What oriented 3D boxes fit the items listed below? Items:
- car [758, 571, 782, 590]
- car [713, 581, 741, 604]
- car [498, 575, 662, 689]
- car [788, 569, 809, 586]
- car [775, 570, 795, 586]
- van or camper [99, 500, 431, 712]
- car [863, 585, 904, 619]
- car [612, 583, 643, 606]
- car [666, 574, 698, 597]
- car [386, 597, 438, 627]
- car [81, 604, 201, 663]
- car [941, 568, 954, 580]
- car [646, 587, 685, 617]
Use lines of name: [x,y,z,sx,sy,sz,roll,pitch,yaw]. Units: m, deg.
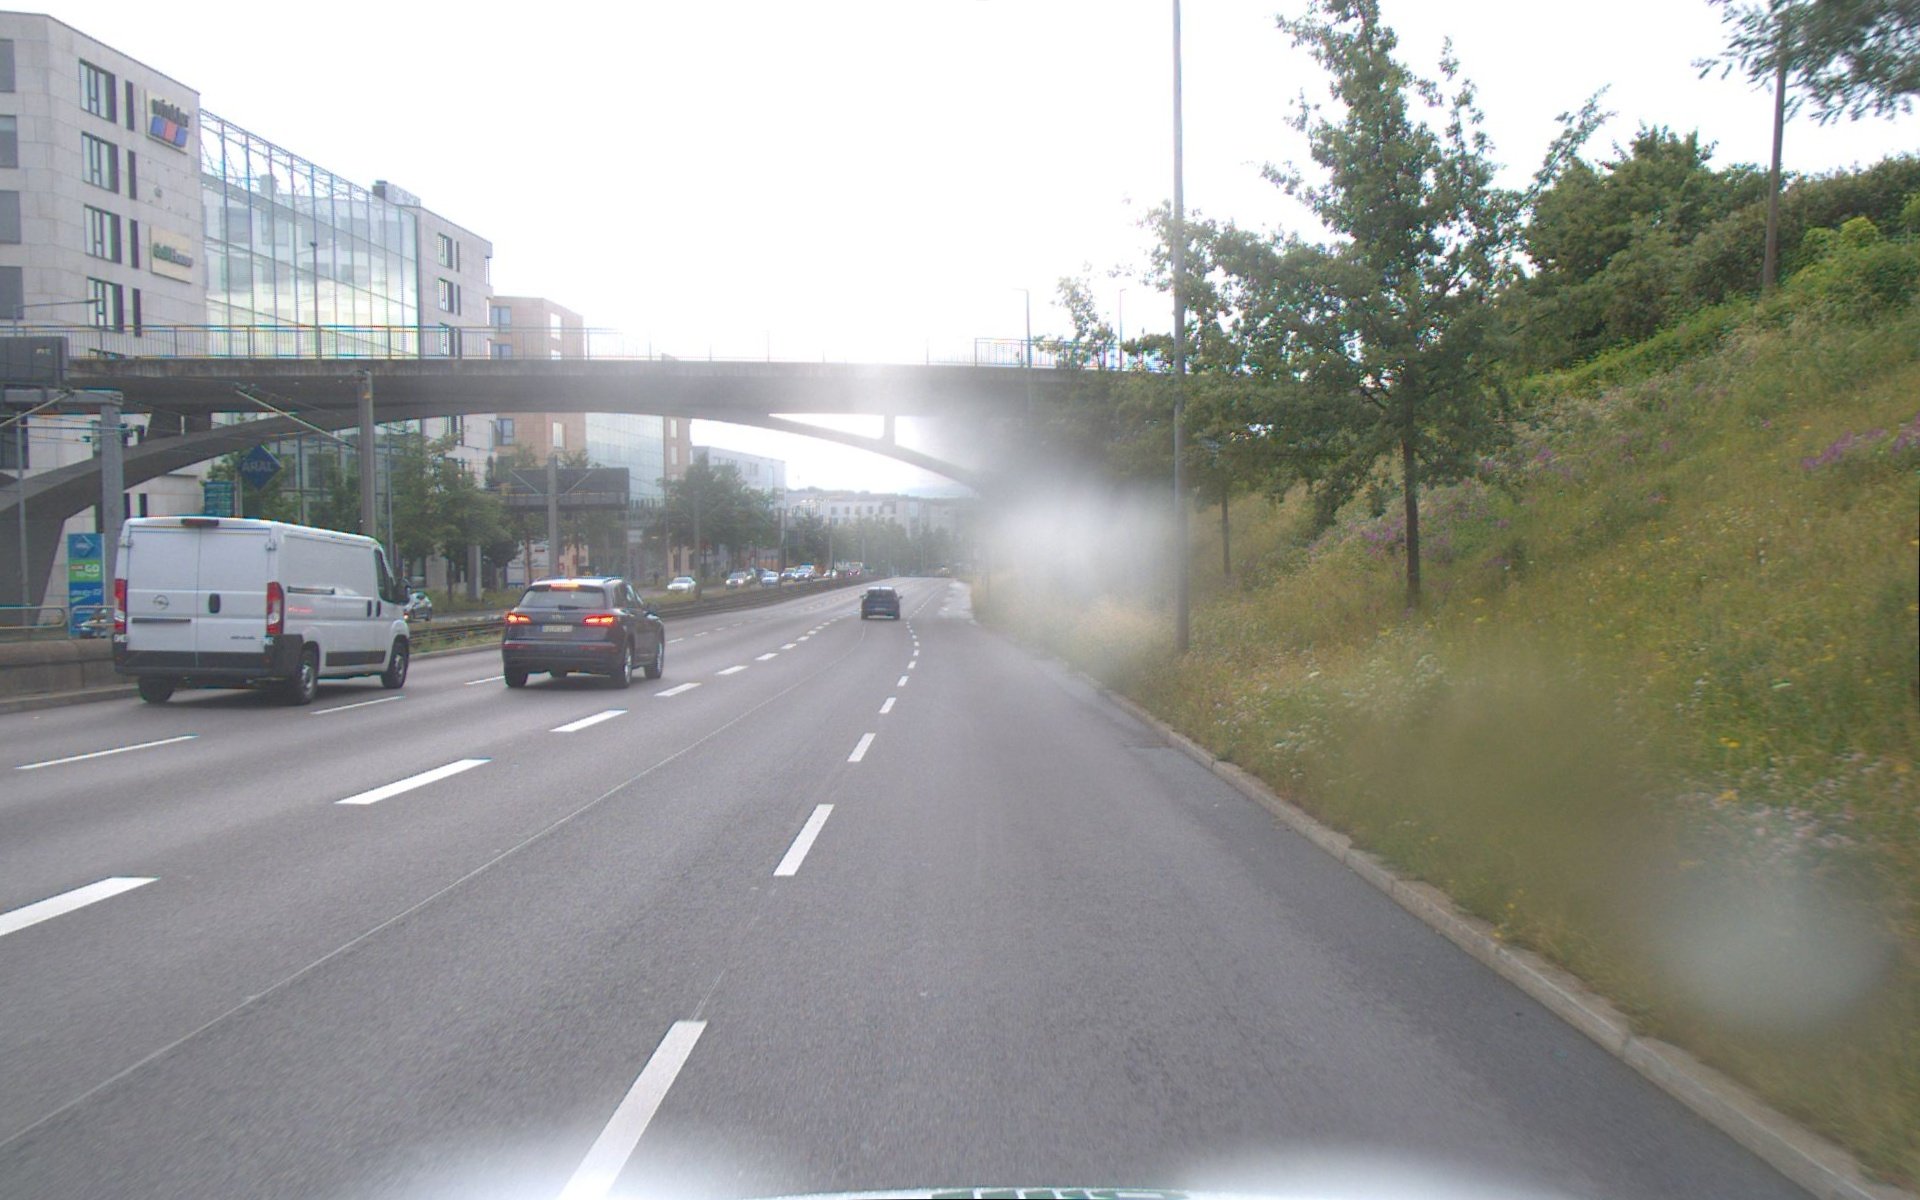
car: [-20.034,-2.076,174.580,1.952,1.765,4.250,1,3,1]
car: [-21.361,-0.692,151.692,1.952,2.049,4.001,0,0,1]
car: [-5.934,0.442,26.340,1.716,1.645,4.746,0,1,-3]
car: [-19.265,-2.681,196.994,1.952,1.765,4.250,1,3,1]
car: [-22.061,-2.770,208.995,1.952,1.765,4.250,1,3,1]
van or camper: [-9.016,0.059,22.119,2.158,2.481,5.530,0,0,-1]
car: [-3.503,0.078,76.285,1.713,1.444,3.478,0,1,0]
car: [-30.205,-0.504,150.423,1.952,2.049,4.001,0,0,1]
car: [-24.340,-1.273,144.853,1.952,1.765,4.250,1,3,1]
car: [-27.527,0.579,83.169,1.486,1.445,3.478,0,1,0]
car: [-21.911,0.868,44.384,1.486,1.445,3.478,0,1,0]
car: [-1.917,-4.065,260.480,1.826,1.780,3.998,1,3,-4]
car: [-19.265,0.127,108.228,1.953,1.735,4.000,1,3,-2]
